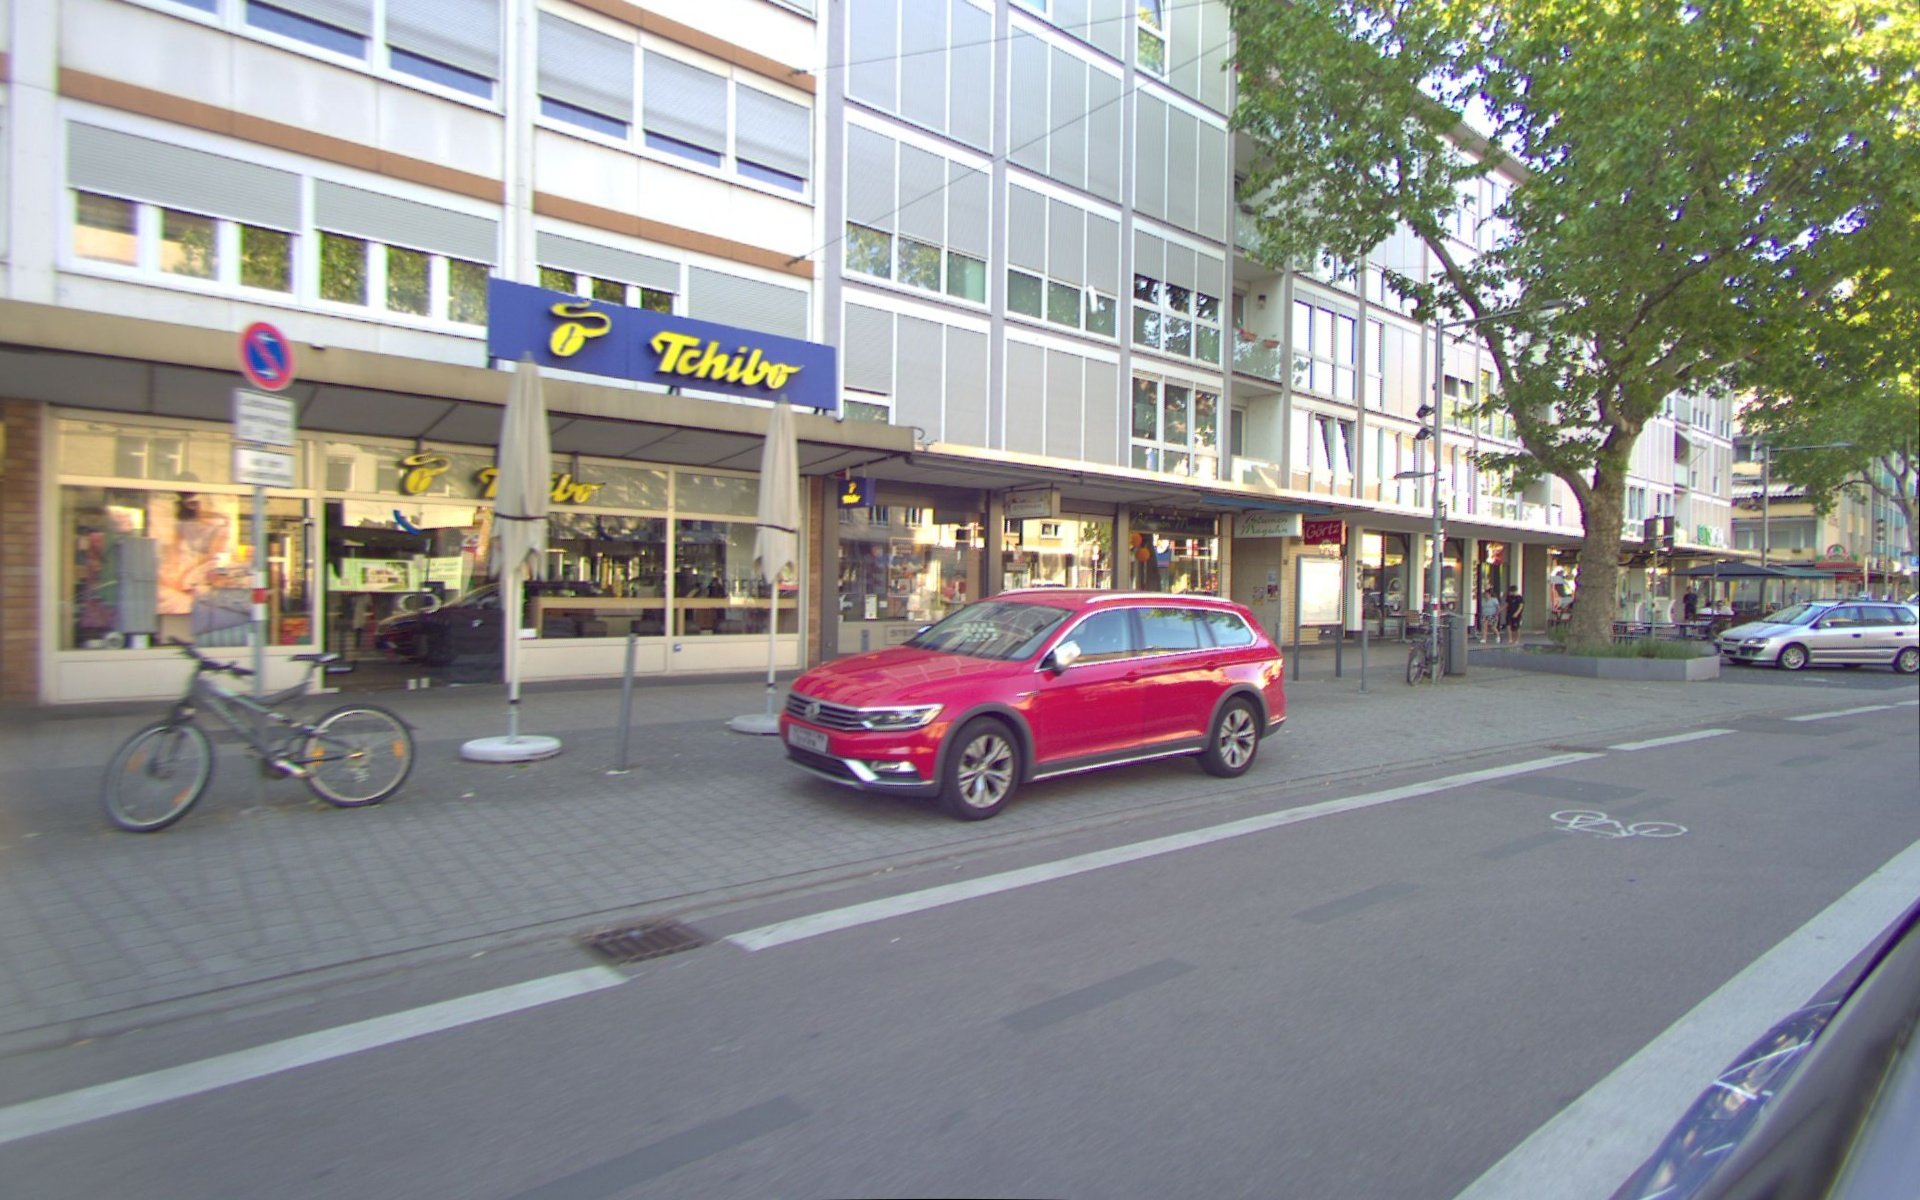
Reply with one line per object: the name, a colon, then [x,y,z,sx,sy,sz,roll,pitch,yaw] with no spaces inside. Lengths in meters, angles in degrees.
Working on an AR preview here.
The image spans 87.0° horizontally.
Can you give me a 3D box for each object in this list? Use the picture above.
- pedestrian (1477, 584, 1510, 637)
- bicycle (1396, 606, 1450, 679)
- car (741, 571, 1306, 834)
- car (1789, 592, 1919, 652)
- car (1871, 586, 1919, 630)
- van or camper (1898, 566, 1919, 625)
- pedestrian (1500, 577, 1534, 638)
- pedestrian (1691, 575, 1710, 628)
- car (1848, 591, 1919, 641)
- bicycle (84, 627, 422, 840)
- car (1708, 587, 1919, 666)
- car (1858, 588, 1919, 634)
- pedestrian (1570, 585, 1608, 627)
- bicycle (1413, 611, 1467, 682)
pedestrian: [14.669,0.285,27.823,0.675,1.417,0.538,0,3,-40]
bicycle: [7.650,0.669,16.681,0.294,1.114,1.693,5,3,40]
car: [0.705,0.590,8.131,4.485,1.514,1.783,0,3,-39]
car: [24.958,0.581,27.090,3.932,1.454,1.657,1,2,8]
car: [37.447,0.338,38.400,3.936,1.583,1.655,1,2,11]
van or camper: [43.392,-0.172,42.660,5.376,2.500,1.994,1,1,11]
pedestrian: [15.050,0.187,27.343,0.675,1.611,0.538,0,3,-40]
pedestrian: [29.134,0.056,39.809,0.549,2.039,0.570,-1,-1,36]
car: [30.580,0.516,31.596,3.936,1.454,1.655,1,2,11]
bicycle: [-4.277,0.741,6.212,1.634,1.083,0.511,0,3,-44]
car: [19.407,0.557,22.618,3.927,1.626,1.808,1,1,3]
car: [35.080,0.406,36.311,3.936,1.541,1.655,1,2,11]
pedestrian: [21.223,0.196,34.139,0.944,1.379,0.751,0,1,-35]
bicycle: [7.800,0.734,16.425,0.294,1.053,1.693,5,3,40]
